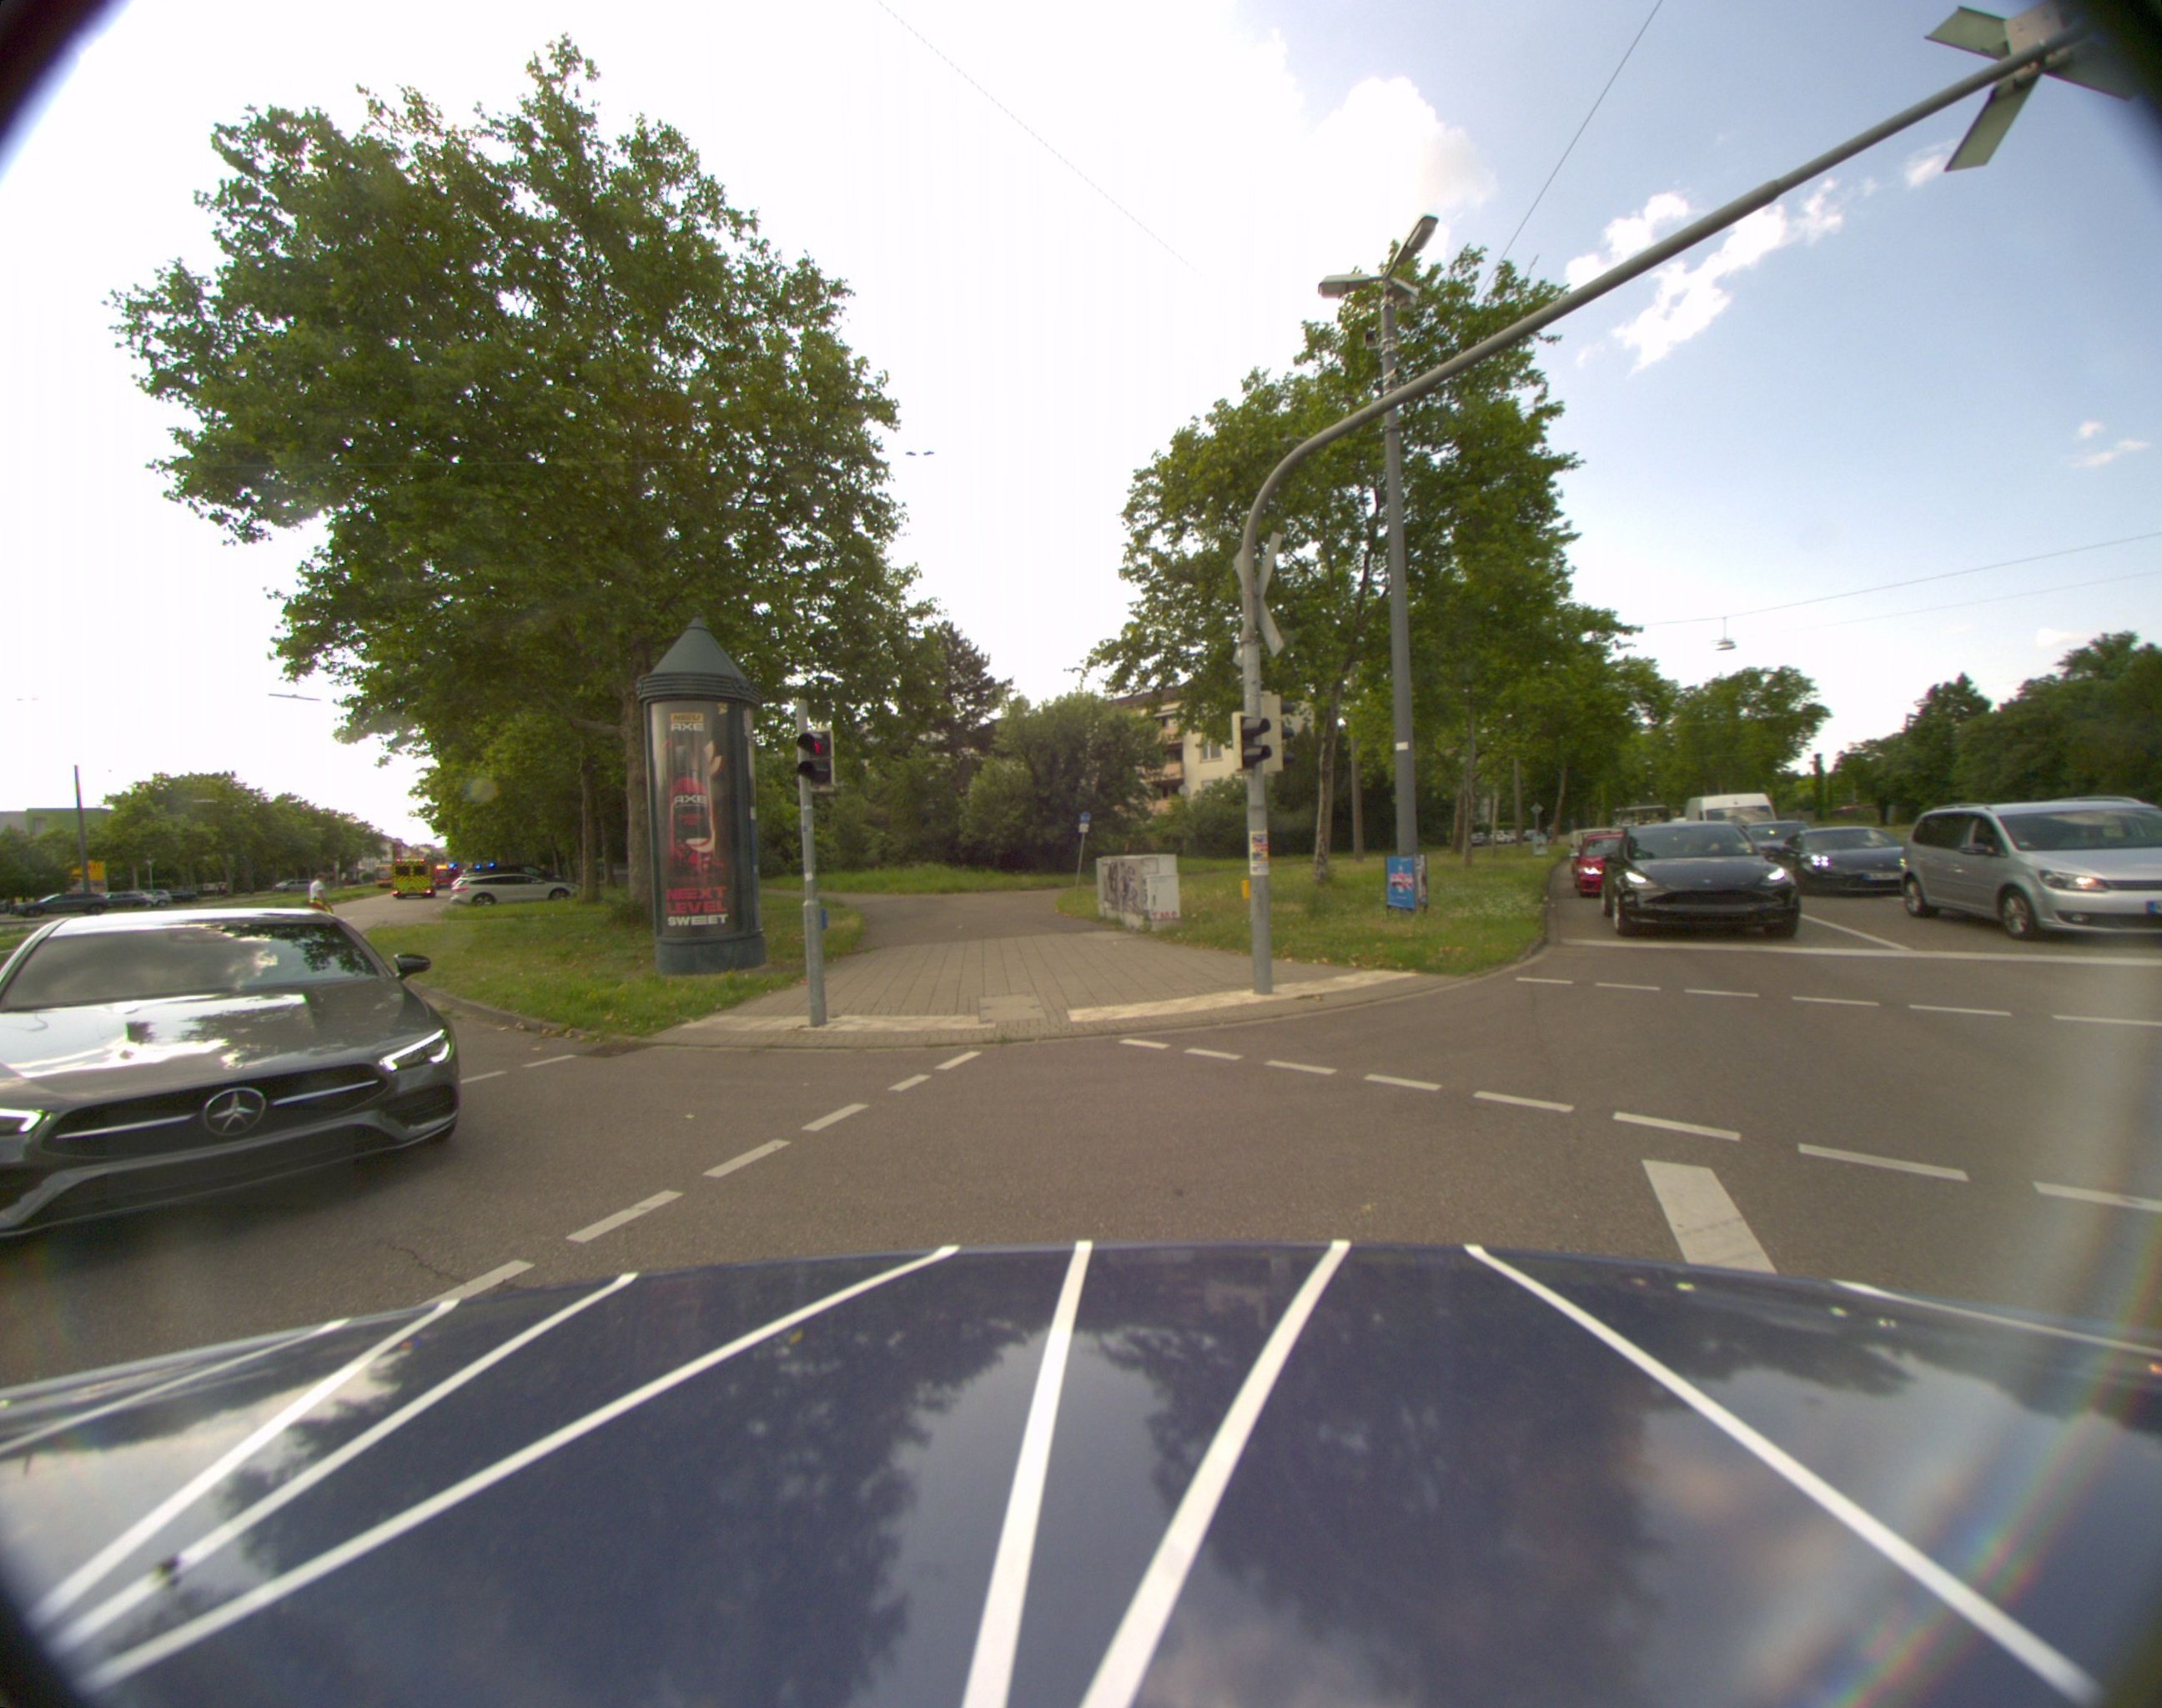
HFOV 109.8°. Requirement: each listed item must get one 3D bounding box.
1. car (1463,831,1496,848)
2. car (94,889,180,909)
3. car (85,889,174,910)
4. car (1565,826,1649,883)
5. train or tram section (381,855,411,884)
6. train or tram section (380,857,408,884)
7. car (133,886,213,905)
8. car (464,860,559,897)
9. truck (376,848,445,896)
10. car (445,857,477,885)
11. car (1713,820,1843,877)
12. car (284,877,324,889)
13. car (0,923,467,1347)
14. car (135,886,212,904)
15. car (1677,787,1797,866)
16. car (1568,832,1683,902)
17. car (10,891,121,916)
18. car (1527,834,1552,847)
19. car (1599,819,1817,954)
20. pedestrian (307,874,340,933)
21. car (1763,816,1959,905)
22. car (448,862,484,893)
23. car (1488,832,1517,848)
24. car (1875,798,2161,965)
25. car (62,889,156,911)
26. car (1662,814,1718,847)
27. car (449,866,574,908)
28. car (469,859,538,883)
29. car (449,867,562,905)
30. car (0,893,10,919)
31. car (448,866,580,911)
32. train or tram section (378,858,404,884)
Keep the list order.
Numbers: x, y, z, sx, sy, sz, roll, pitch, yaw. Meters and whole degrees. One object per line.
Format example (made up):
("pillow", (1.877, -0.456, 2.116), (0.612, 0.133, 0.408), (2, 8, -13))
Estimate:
("car", (40.157, -1.477, 76.537), (3.664, 1.586, 1.772), (-1, -1, -43))
("car", (-80.887, 3.821, 65.153), (1.897, 1.356, 4.322), (-2, 1, 30))
("car", (-79.125, 3.752, 63.254), (1.897, 1.356, 4.322), (-2, 1, 30))
("car", (16.560, -0.038, 24.118), (1.798, 1.560, 4.509), (-4, 0, 30))
("train or tram section", (-89.612, 2.052, 99.324), (2.500, 3.576, 7.401), (-4, 2, -44))
("train or tram section", (-94.687, 2.245, 104.679), (2.500, 3.576, 7.401), (-4, 2, -44))
("car", (-82.389, 3.760, 68.978), (1.897, 1.356, 4.322), (-2, 1, 30))
("car", (-35.751, 1.507, 47.811), (4.564, 2.002, 1.995), (-3, 1, -37))
("truck", (-51.090, 1.359, 58.121), (3.199, 3.298, 7.503), (-3, 1, -37))
("car", (-77.705, 2.095, 95.200), (2.981, 3.310, 7.440), (-1, -1, -39))
("car", (19.530, -0.194, 21.504), (1.760, 1.367, 4.350), (-4, 0, 30))
("car", (-125.308, 4.703, 122.547), (1.818, 1.827, 4.006), (-2, -1, 21))
("car", (-5.589, 1.233, 4.634), (4.594, 1.385, 1.845), (-3, -1, 38))
("car", (-85.956, 3.888, 72.007), (1.897, 1.356, 4.322), (-2, 1, 30))
("car", (24.066, -1.006, 28.167), (2.222, 2.515, 5.943), (-4, 0, 30))
("car", (13.014, 0.254, 18.407), (1.798, 1.383, 4.509), (-4, 0, 30))
("car", (-70.461, 3.399, 52.804), (1.897, 1.356, 4.322), (-2, 1, 28))
("car", (56.961, -1.661, 94.397), (3.664, 1.586, 1.772), (-1, -1, -43))
("car", (9.233, 0.361, 11.617), (1.927, 1.642, 4.587), (-4, 0, 32))
("pedestrian", (-22.110, 1.435, 22.182), (0.588, 1.674, 0.493), (-3, 1, -42))
("car", (15.448, 0.069, 15.318), (1.800, 1.499, 4.007), (-4, 0, 32))
("car", (-69.292, 2.612, 85.606), (2.981, 3.297, 7.440), (-1, -1, -39))
("car", (46.261, -1.540, 83.327), (3.664, 1.586, 1.772), (-1, -1, -43))
("car", (12.219, 0.204, 9.513), (1.926, 1.642, 4.509), (-4, 0, 30))
("car", (-77.279, 3.673, 60.493), (1.897, 1.356, 4.322), (-2, 1, 30))
("car", (33.236, -1.308, 41.589), (1.760, 1.637, 4.350), (-2, 1, 30))
("car", (-26.830, 1.516, 35.857), (4.551, 1.634, 1.995), (-3, 0, -40))
("car", (-82.512, 2.391, 108.661), (7.474, 3.310, 2.967), (-1, -1, -43))
("car", (-30.130, 1.630, 39.835), (4.551, 1.634, 1.995), (-3, 0, -40))
("car", (-64.440, 3.101, 43.035), (1.856, 1.495, 4.178), (-2, 1, 30))
("car", (-25.201, 1.512, 33.857), (4.551, 1.634, 1.995), (-3, 0, -40))
("train or tram section", (-104.846, 2.570, 115.408), (2.500, 3.576, 7.401), (-4, 2, -44))
